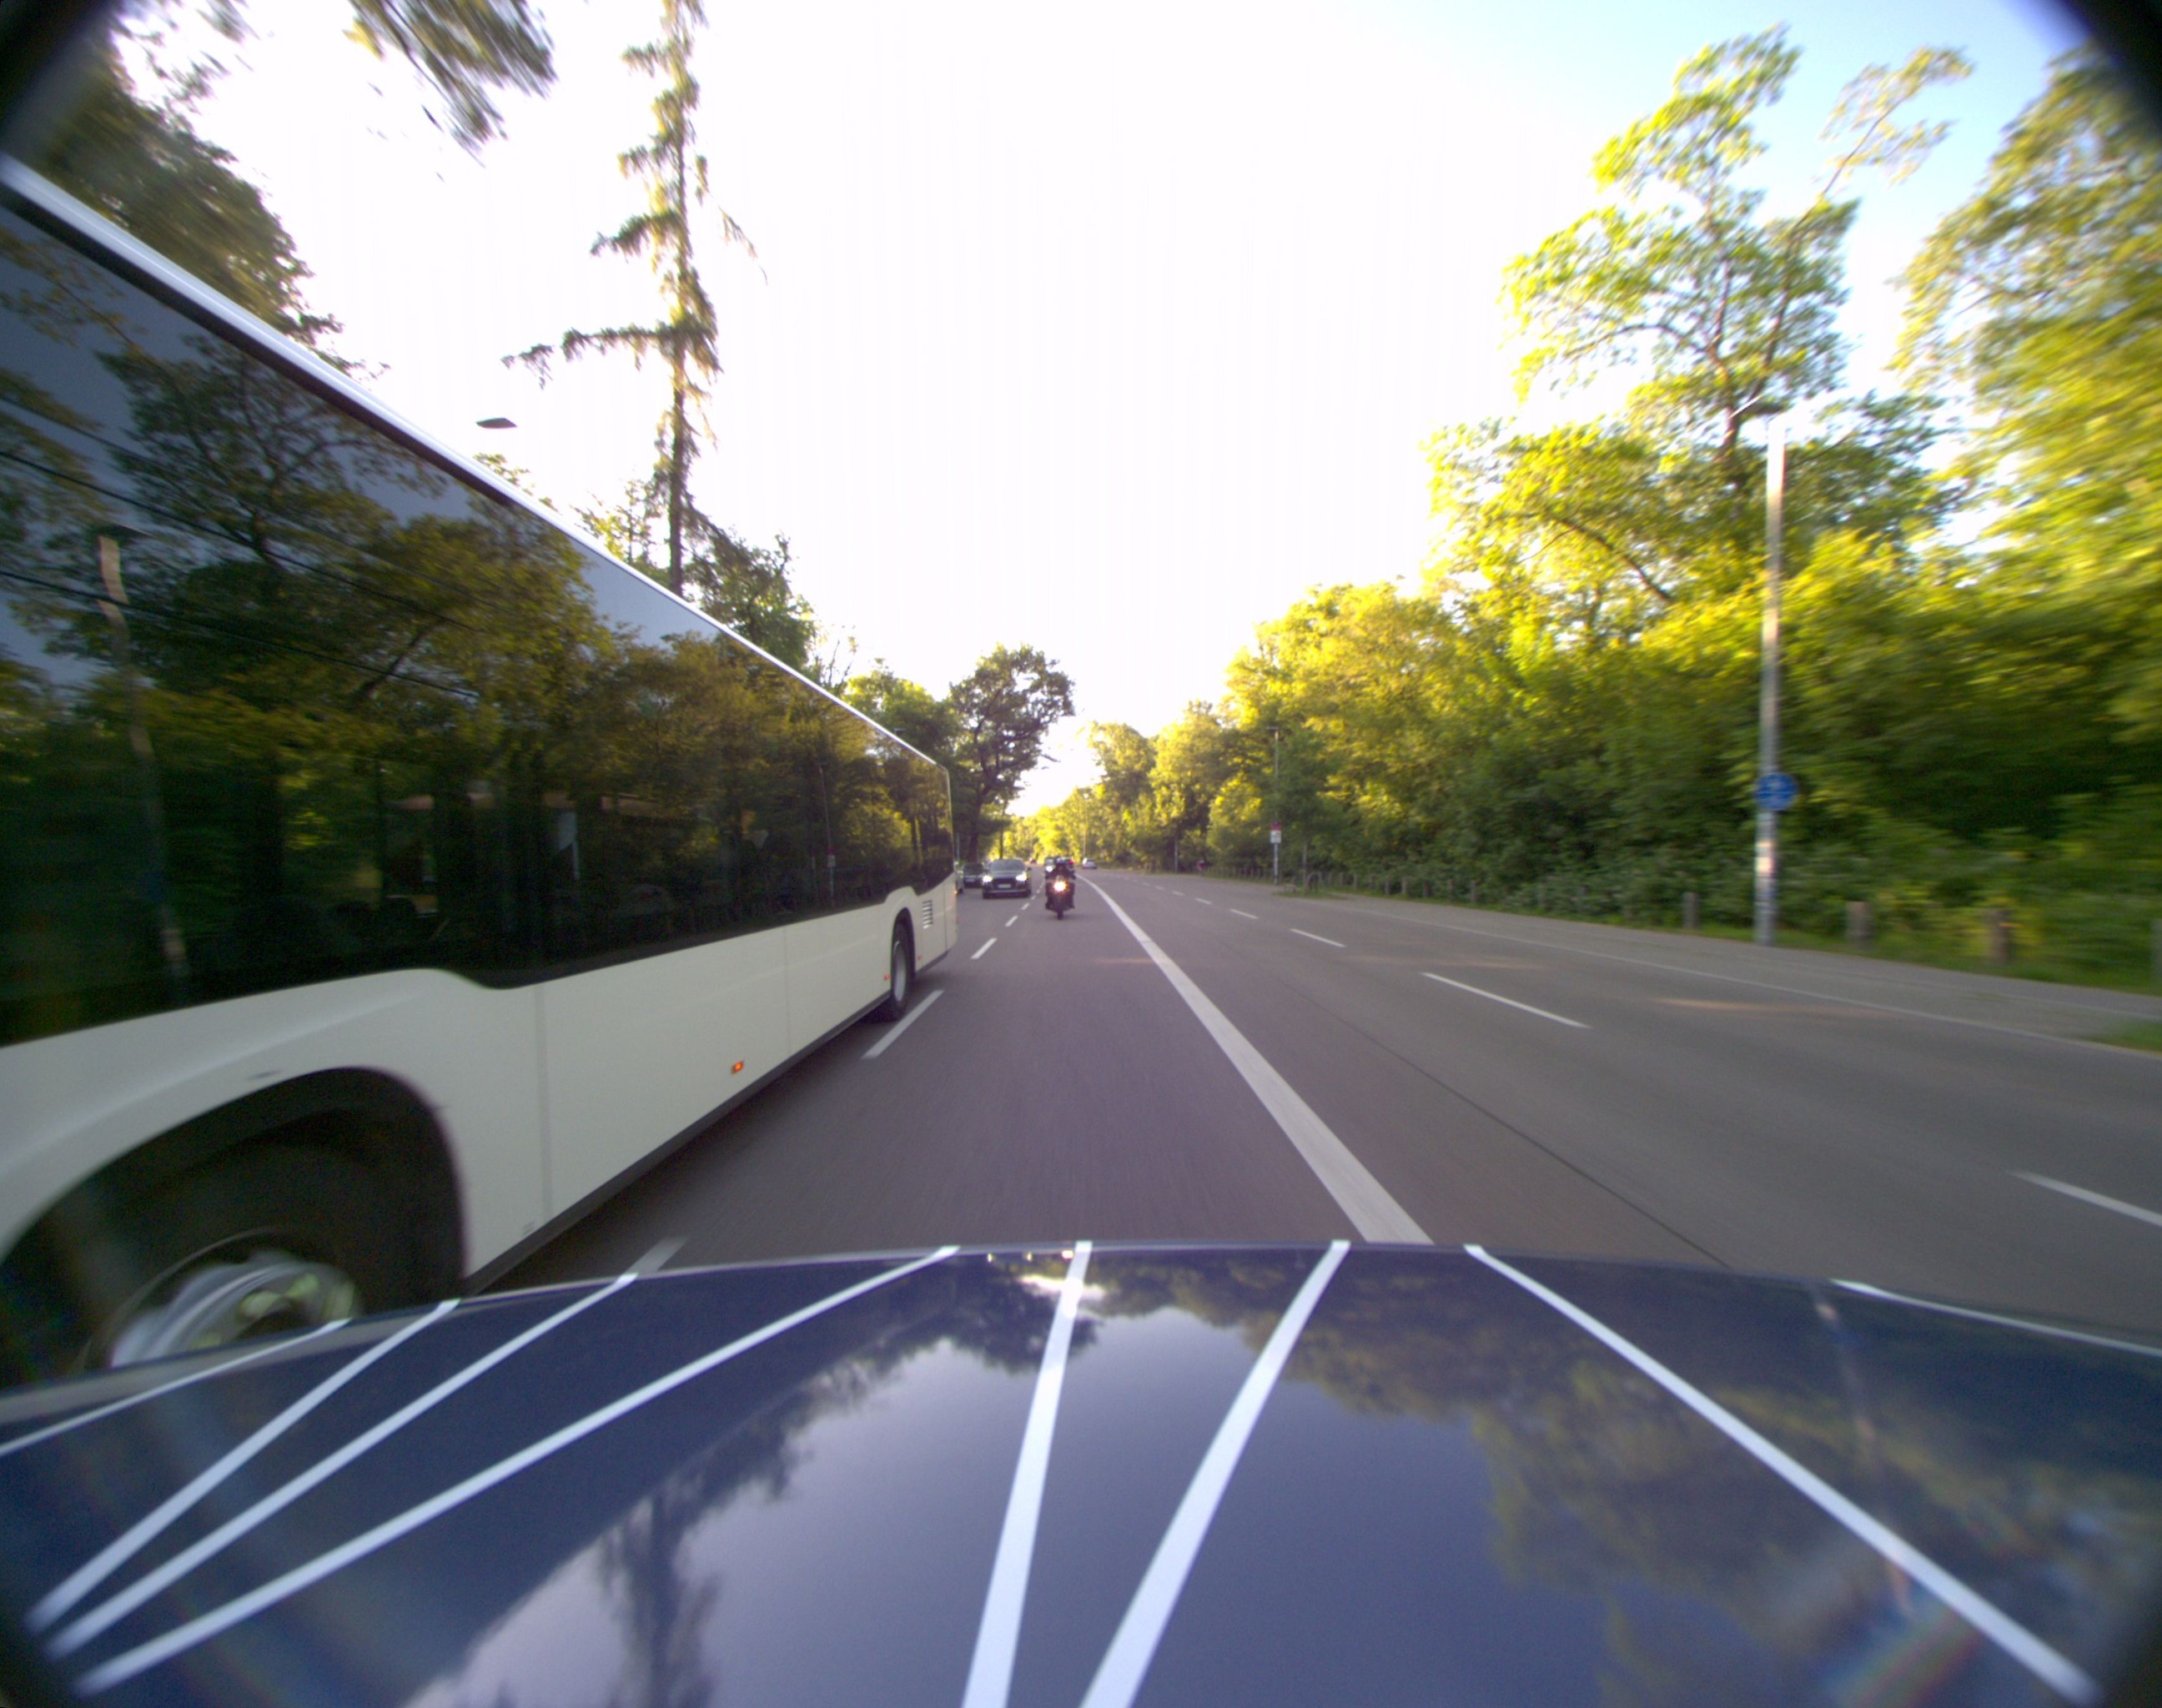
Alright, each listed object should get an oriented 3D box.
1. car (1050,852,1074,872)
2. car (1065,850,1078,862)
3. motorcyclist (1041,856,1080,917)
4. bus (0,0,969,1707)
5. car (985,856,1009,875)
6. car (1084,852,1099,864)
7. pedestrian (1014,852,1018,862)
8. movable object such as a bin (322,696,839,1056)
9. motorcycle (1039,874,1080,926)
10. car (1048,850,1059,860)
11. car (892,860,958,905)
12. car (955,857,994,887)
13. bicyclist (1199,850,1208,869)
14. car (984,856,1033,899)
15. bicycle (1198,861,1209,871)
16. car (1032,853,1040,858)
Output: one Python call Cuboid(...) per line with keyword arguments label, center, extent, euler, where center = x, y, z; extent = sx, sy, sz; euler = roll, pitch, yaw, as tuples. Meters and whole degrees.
Cuboid(label="car", center=(-1.698, 0.695, 68.219), extent=(1.998, 1.761, 4.231), euler=(0, 1, 0))
Cuboid(label="car", center=(-1.463, 0.268, 116.571), extent=(1.923, 1.694, 4.441), euler=(-1, 0, -2))
Cuboid(label="motorcyclist", center=(-0.528, 0.845, 20.122), extent=(0.953, 1.523, 1.073), euler=(-2, 1, 0))
Cuboid(label="bus", center=(-3.069, 0.149, 5.014), extent=(2.711, 3.203, 12.278), euler=(-1, 0, 0))
Cuboid(label="car", center=(-7.062, 0.940, 64.010), extent=(1.733, 1.502, 4.168), euler=(2, 0, -4))
Cuboid(label="car", center=(1.440, 0.534, 107.540), extent=(1.903, 1.523, 4.527), euler=(-1, 0, -3))
Cuboid(label="pedestrian", center=(-11.034, 0.485, 128.945), extent=(0.513, 1.746, 0.734), euler=(0, 1, -19))
Cuboid(label="movable object such as a bin", center=(-5.894, 0.183, 10.960), extent=(2.766, 3.351, 7.597), euler=(-1, 0, -4))
Cuboid(label="motorcycle", center=(-0.529, 1.167, 20.090), extent=(0.956, 1.098, 3.339), euler=(-3, 0, 0))
Cuboid(label="car", center=(-5.585, 0.244, 153.848), extent=(2.212, 1.949, 4.911), euler=(-2, 0, -3))
Cuboid(label="car", center=(-6.048, 1.061, 29.986), extent=(1.843, 1.565, 4.458), euler=(-1, 1, -3))
Cuboid(label="car", center=(-6.207, 1.023, 44.659), extent=(1.999, 1.548, 4.096), euler=(2, 0, -5))
Cuboid(label="bicyclist", center=(9.710, 0.413, 60.163), extent=(0.501, 1.475, 0.761), euler=(1, 1, -2))
Cuboid(label="car", center=(-3.044, 0.946, 32.519), extent=(1.862, 1.608, 3.999), euler=(-2, 1, -3))
Cuboid(label="bicycle", center=(9.694, 0.949, 60.133), extent=(0.496, 0.809, 1.808), euler=(2, 0, -2))
Cuboid(label="car", center=(-12.817, 0.447, 216.605), extent=(1.829, 1.454, 4.922), euler=(-1, 0, -6))
